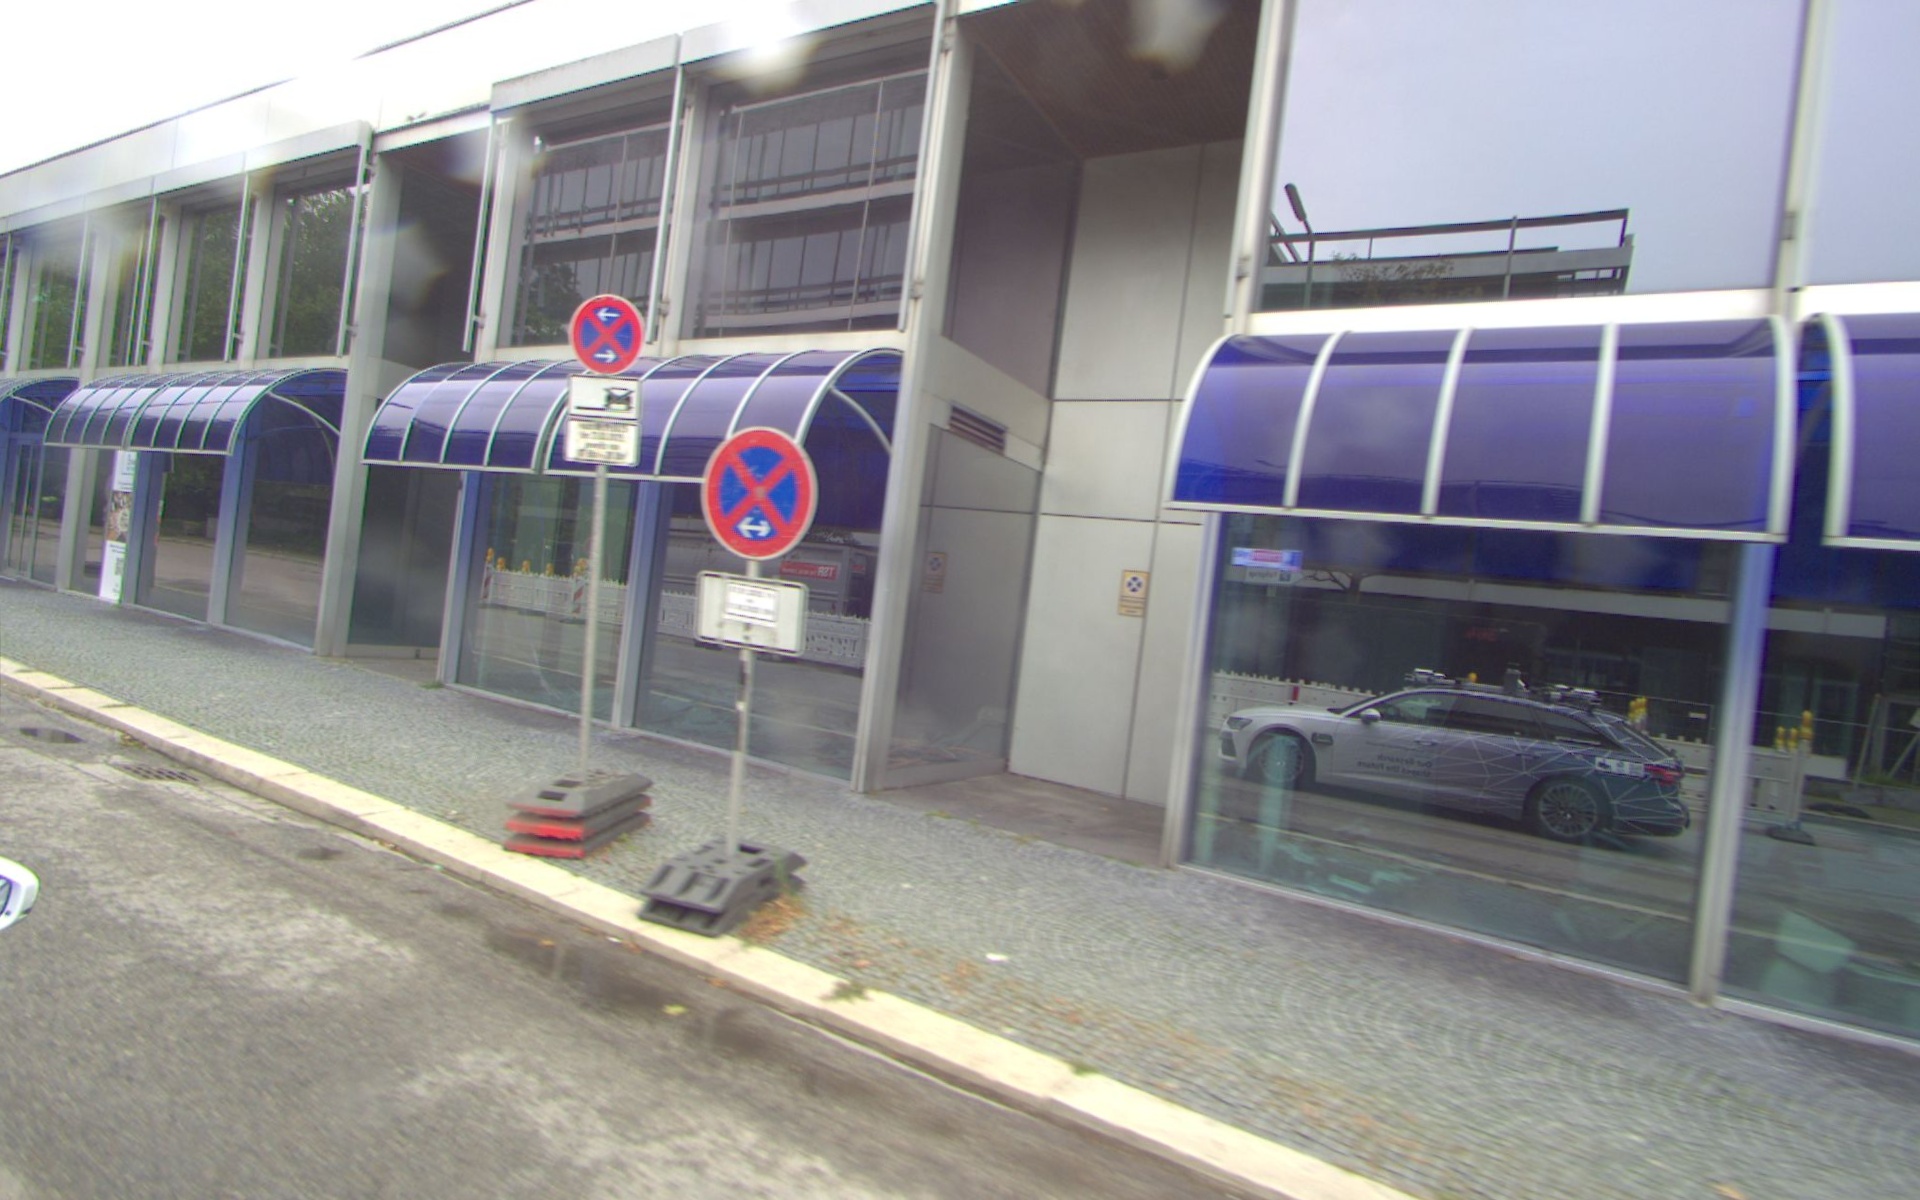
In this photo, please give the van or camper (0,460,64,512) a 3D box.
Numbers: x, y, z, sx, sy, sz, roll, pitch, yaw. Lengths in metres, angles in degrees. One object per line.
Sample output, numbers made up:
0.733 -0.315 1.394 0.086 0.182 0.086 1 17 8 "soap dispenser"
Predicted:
-51.022 -6.283 52.172 2.212 2.309 6.422 7 -1 17 "van or camper"
